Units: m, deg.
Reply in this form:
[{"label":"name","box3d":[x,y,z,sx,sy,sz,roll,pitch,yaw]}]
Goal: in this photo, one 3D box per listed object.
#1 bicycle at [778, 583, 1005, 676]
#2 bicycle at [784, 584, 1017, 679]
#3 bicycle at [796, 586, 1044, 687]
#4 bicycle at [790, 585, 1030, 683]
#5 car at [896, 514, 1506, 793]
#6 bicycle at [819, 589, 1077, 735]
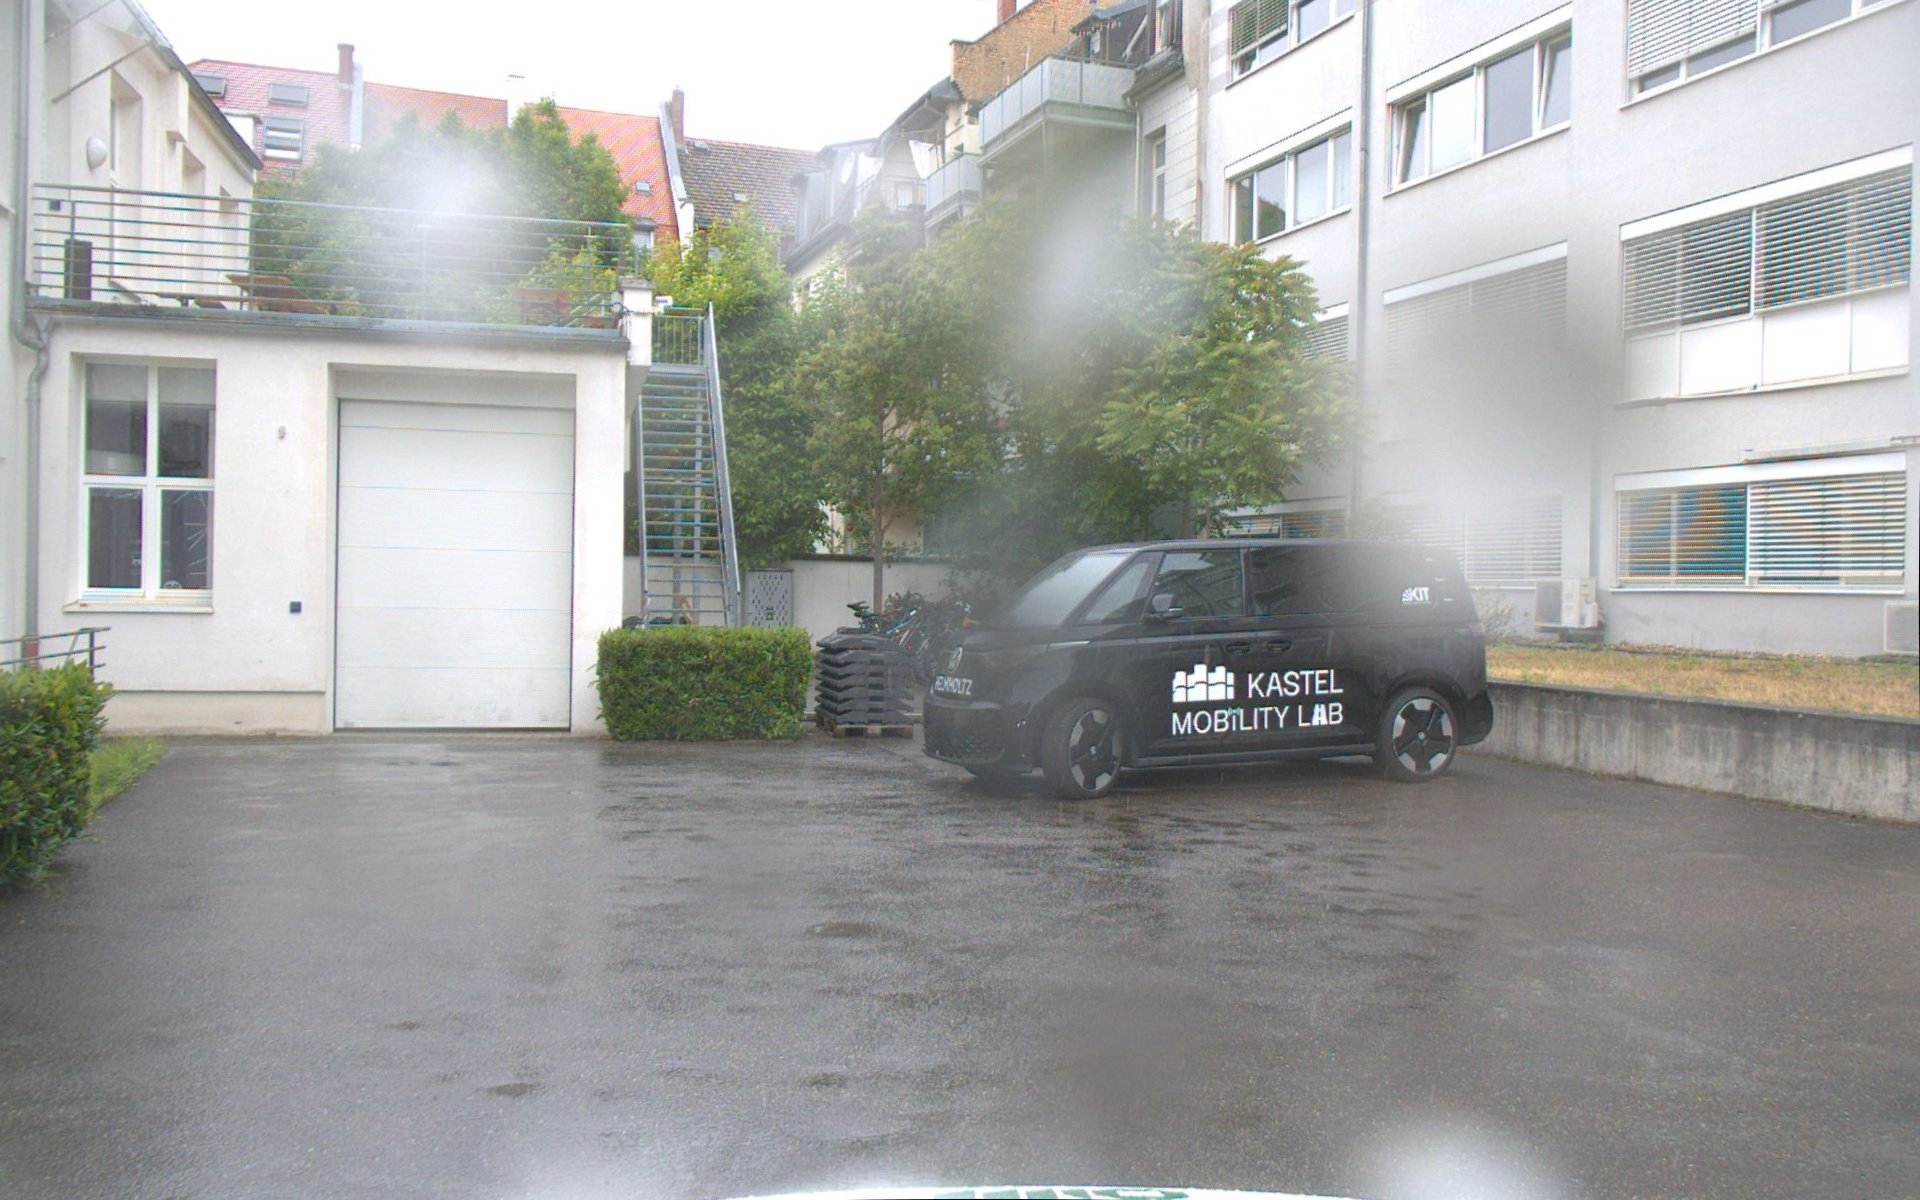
[{"label":"bicycle","box3d":[-0.965,0.414,23.442,3.162,1.263,0.628,0,0,-17]},{"label":"bicycle","box3d":[-0.811,0.432,22.810,3.162,1.263,0.628,0,0,-17]},{"label":"bicycle","box3d":[-0.506,0.467,21.476,3.162,1.263,0.628,0,0,-17]},{"label":"bicycle","box3d":[-0.658,0.449,22.157,3.162,1.263,0.628,0,0,-17]},{"label":"car","box3d":[1.910,0.378,13.223,4.445,1.930,2.033,0,0,-22]},{"label":"bicycle","box3d":[-0.132,0.751,20.529,3.162,1.732,0.628,0,0,-17]}]
